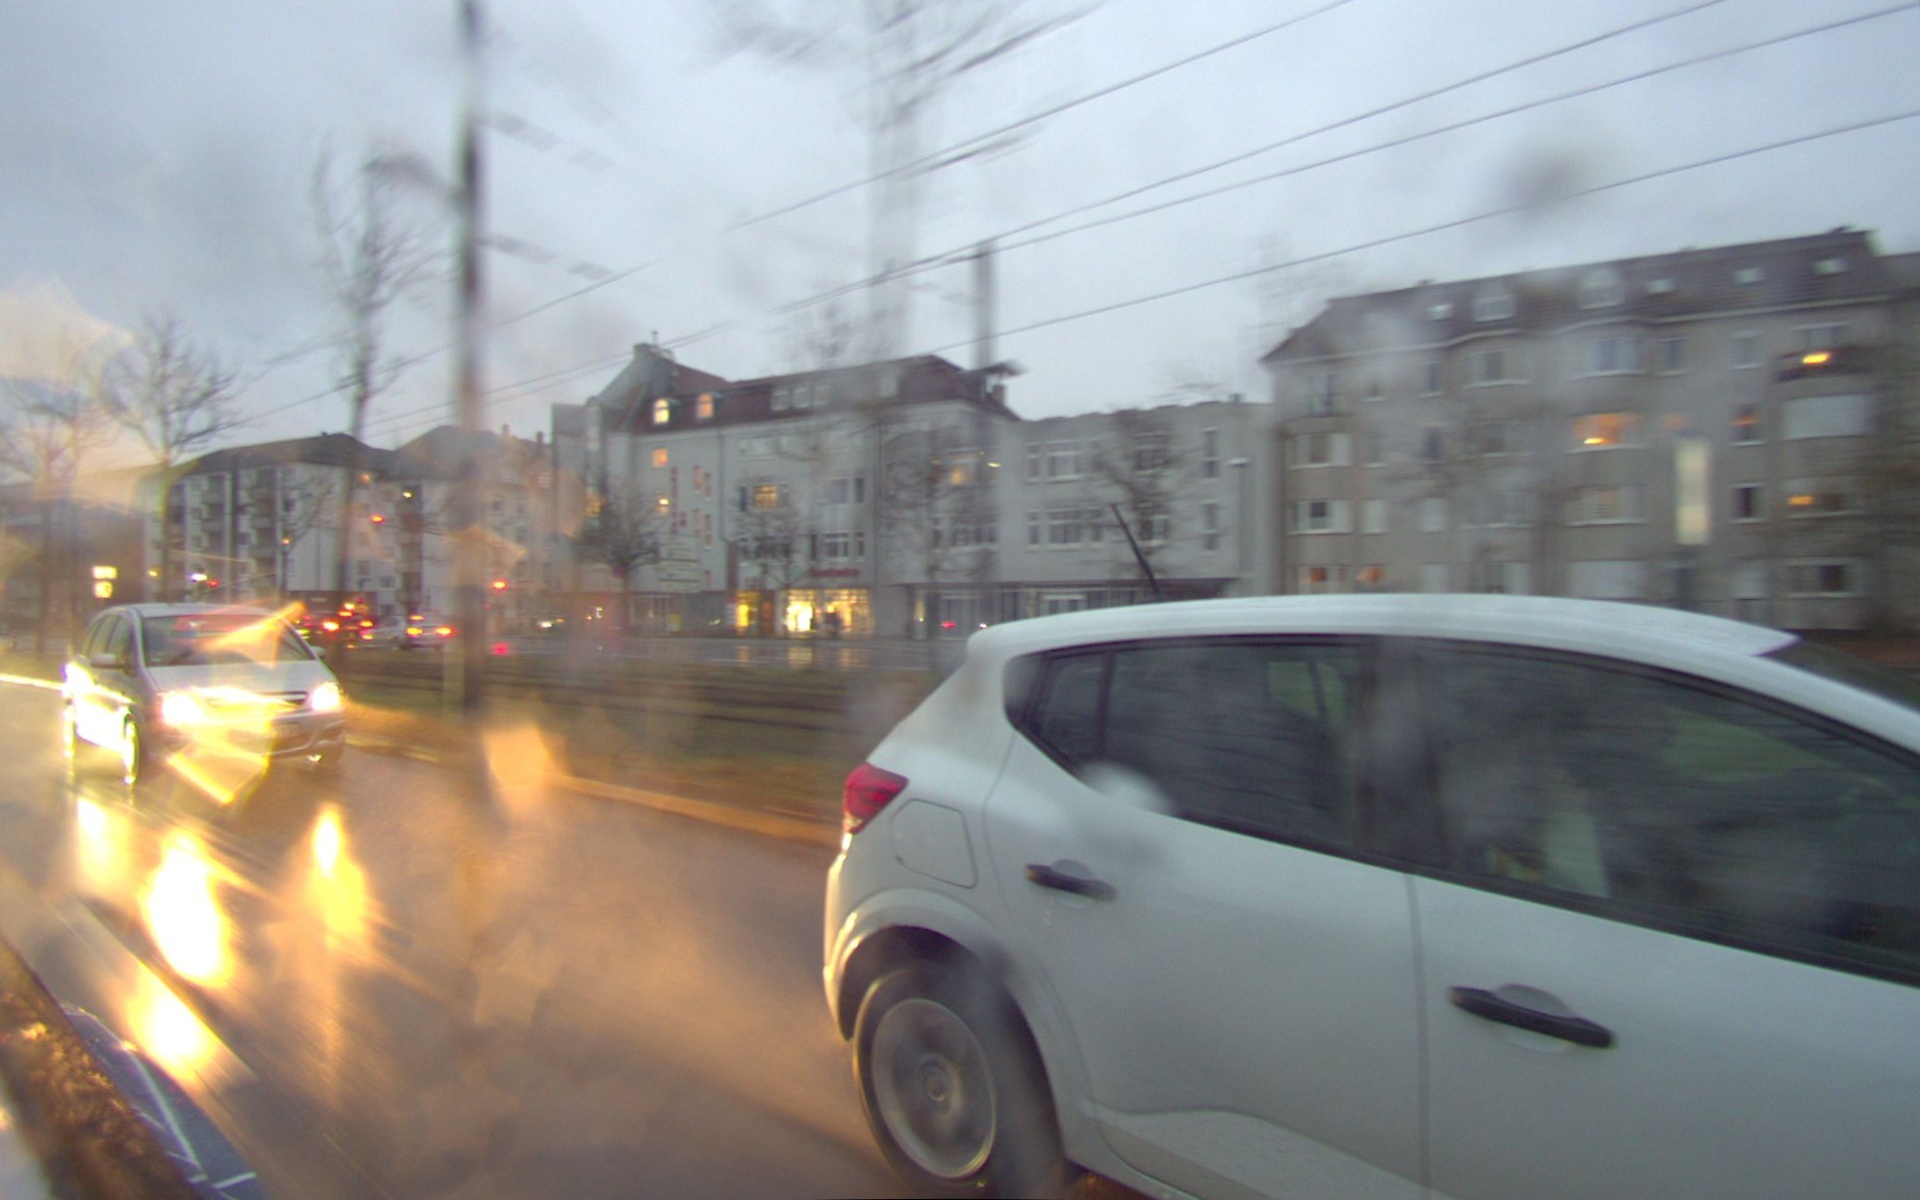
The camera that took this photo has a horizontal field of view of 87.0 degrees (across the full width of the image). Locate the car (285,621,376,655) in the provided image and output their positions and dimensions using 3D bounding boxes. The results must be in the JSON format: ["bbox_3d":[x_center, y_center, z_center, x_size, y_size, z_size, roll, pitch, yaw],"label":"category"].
[{"bbox_3d":[-26.868,1.592,43.136,4.281,1.365,1.875,-1,-2,37],"label":"car"}]

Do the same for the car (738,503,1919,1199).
[{"bbox_3d":[1.516,0.656,2.082,4.131,1.536,1.691,-1,-1,40],"label":"car"}]

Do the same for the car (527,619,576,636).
[{"bbox_3d":[-36.835,2.468,91.352,1.773,1.487,3.856,-1,-2,33],"label":"car"}]

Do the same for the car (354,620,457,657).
[{"bbox_3d":[-21.590,1.485,39.368,4.280,1.365,1.875,-1,-2,36],"label":"car"}]

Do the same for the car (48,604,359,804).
[{"bbox_3d":[-7.542,0.857,9.962,3.920,1.587,1.648,-1,-1,41],"label":"car"}]
